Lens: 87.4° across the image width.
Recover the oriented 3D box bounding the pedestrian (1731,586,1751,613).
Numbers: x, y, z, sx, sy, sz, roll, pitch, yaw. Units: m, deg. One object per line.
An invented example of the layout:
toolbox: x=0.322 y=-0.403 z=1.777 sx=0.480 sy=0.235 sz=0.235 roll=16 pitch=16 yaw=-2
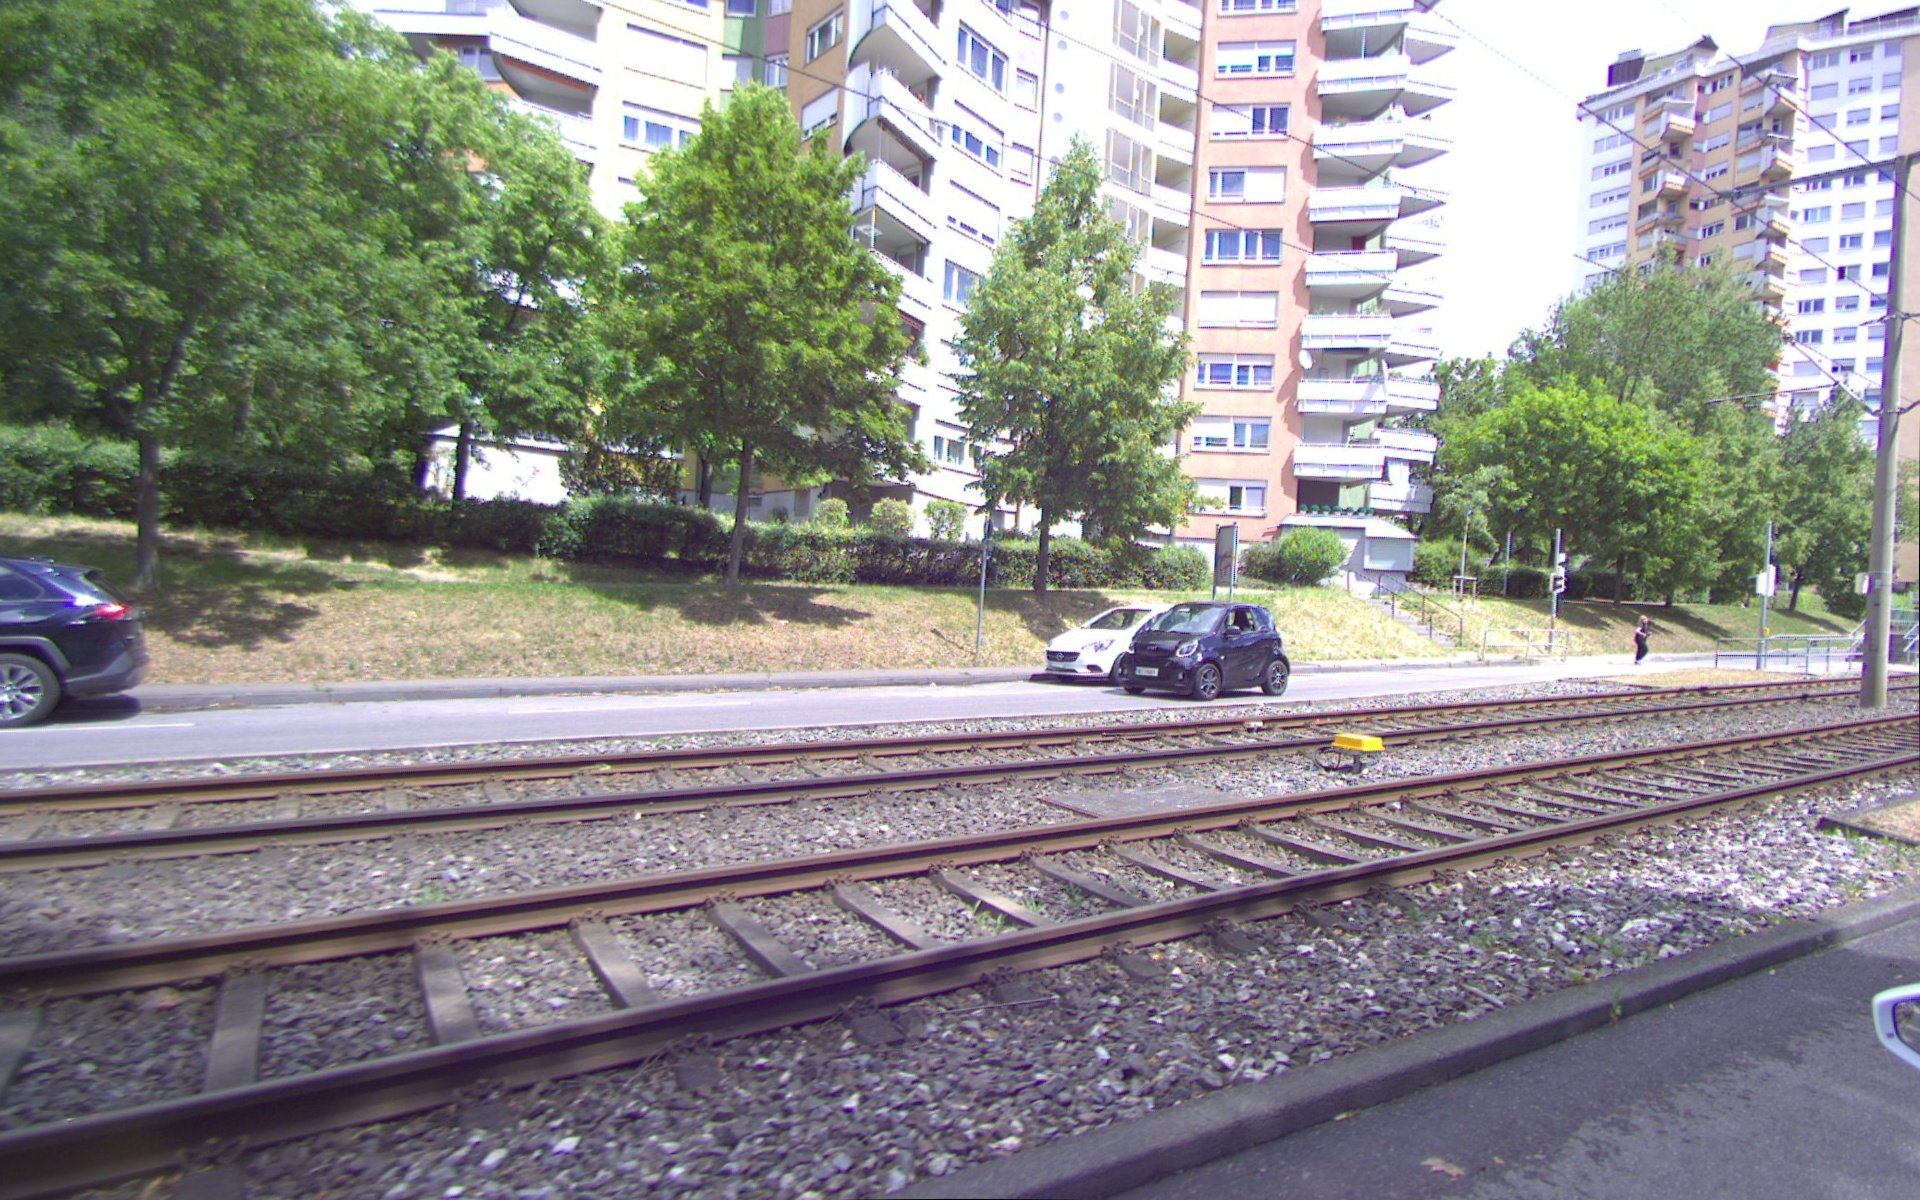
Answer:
pedestrian: x=45.416 y=-0.048 z=58.389 sx=0.623 sy=1.555 sz=0.634 roll=1 pitch=0 yaw=-13

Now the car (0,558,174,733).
car: x=-10.459 y=0.401 z=9.691 sx=4.336 sy=1.651 sz=1.764 roll=2 pitch=-1 yaw=-34

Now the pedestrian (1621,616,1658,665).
pedestrian: x=21.914 y=1.292 z=32.408 sx=0.755 sy=1.555 sz=0.717 roll=1 pitch=0 yaw=15

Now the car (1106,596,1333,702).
car: x=4.400 y=0.769 z=16.878 sx=3.660 sy=1.585 sz=1.704 roll=1 pitch=0 yaw=-35

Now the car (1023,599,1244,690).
car: x=3.387 y=0.812 z=19.221 sx=4.204 sy=1.552 sz=1.769 roll=1 pitch=-1 yaw=-37
